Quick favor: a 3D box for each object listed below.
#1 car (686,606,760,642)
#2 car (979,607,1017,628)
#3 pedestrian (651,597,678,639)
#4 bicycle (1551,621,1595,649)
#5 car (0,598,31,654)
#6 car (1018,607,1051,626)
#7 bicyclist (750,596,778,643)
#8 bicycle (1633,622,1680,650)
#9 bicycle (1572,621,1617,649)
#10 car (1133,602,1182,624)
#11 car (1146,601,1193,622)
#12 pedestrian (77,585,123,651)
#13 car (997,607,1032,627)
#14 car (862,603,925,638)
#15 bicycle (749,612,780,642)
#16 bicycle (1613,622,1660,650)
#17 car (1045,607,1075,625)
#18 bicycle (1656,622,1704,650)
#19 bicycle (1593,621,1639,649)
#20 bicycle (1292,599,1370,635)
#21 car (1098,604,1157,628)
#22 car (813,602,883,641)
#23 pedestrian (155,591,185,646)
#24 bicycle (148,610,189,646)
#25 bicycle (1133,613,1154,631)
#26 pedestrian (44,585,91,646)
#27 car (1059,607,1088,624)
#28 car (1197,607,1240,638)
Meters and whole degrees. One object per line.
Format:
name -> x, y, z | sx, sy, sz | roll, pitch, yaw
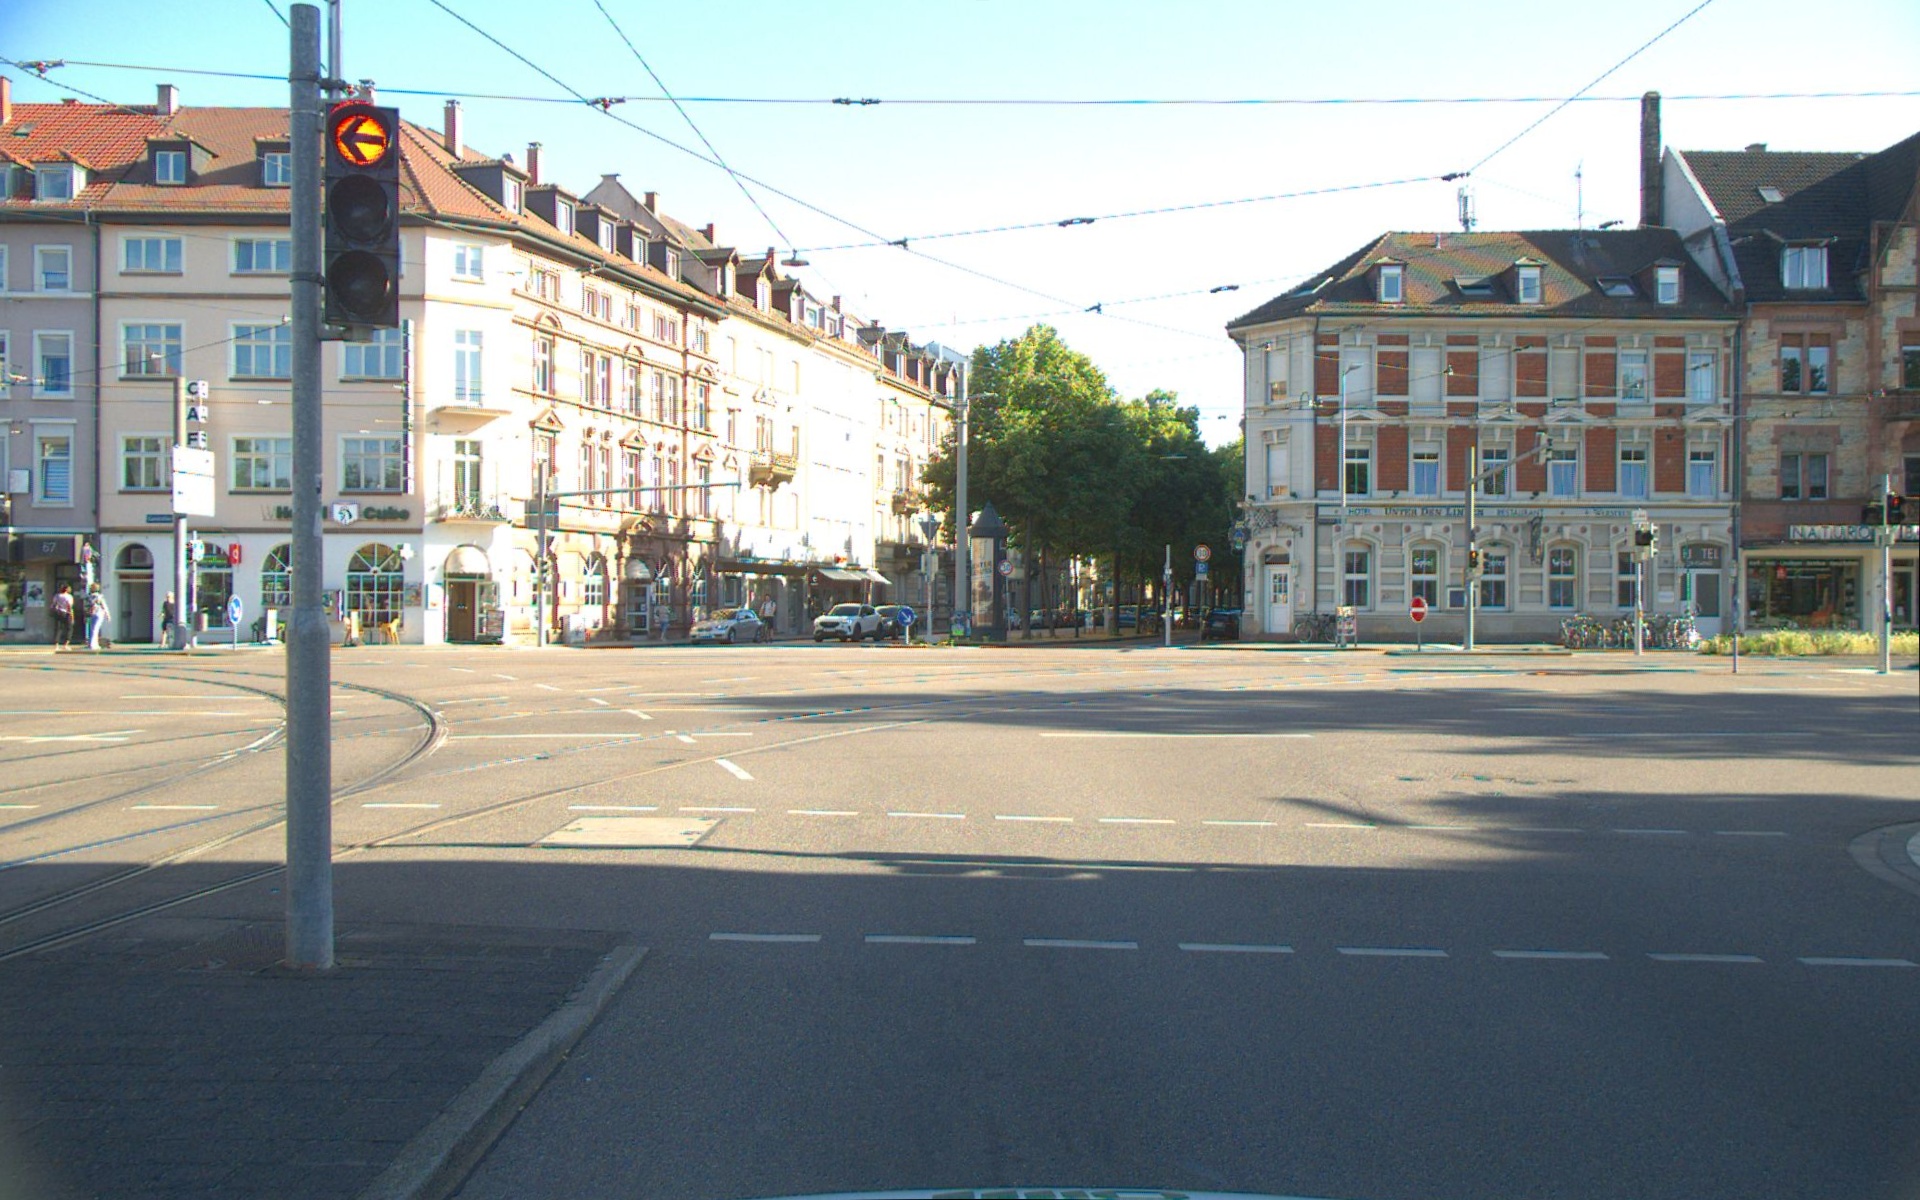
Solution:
car -> -9.535, 0.936, 66.730 | 1.642, 1.378, 3.593 | 0, 0, 16
car -> 2.575, 1.146, 111.323 | 1.642, 1.378, 3.593 | 0, 0, 16
pedestrian -> -12.256, 0.734, 68.603 | 0.759, 1.699, 0.831 | 1, -1, 15
bicycle -> 19.765, 1.105, 53.349 | 0.645, 0.855, 2.160 | 1, 0, 1
car -> -32.148, 0.793, 52.245 | 4.276, 1.741, 2.306 | 1, 0, 1
car -> 5.545, 1.220, 122.485 | 1.642, 1.378, 3.593 | 0, 0, 16
bicyclist -> -7.709, 0.768, 64.989 | 0.761, 1.834, 1.056 | 1, -1, 13
bicycle -> 22.495, 1.152, 53.463 | 0.645, 0.855, 2.160 | 1, 0, 1
bicycle -> 20.484, 1.118, 53.437 | 0.645, 0.855, 2.160 | 1, 0, 1
car -> 15.331, 0.967, 128.229 | 3.503, 1.677, 1.684 | 0, 0, 16
car -> 16.954, 0.893, 133.729 | 3.503, 1.677, 1.684 | 0, 0, 16
pedestrian -> -21.322, 0.442, 41.000 | 0.539, 1.605, 0.832 | 1, -1, 27
car -> 3.832, 1.165, 115.498 | 1.642, 1.378, 3.593 | 0, 0, 16
car -> -2.942, 0.890, 73.536 | 1.642, 1.509, 3.950 | 0, 0, 16
bicycle -> -7.675, 1.049, 65.112 | 0.687, 1.137, 1.636 | 1, 0, 13
bicycle -> 21.867, 1.142, 53.484 | 0.645, 0.855, 2.160 | 1, 0, 1
car -> 7.904, 1.223, 130.827 | 1.642, 1.378, 3.593 | 0, 0, 16
bicycle -> 23.283, 1.166, 53.509 | 0.645, 0.855, 2.160 | 1, 0, 1
bicycle -> 21.196, 1.130, 53.450 | 0.645, 0.855, 2.160 | 1, 0, 1
bicycle -> 12.871, 0.588, 57.440 | 2.504, 1.194, 0.818 | 1, -1, -4
car -> 11.725, 1.122, 115.817 | 3.819, 1.677, 1.684 | 0, 0, 16
car -> -4.530, 0.845, 67.211 | 1.642, 1.509, 3.774 | 0, 0, 16
pedestrian -> -24.799, 0.571, 51.925 | 0.570, 1.699, 0.752 | 1, -1, -1
bicycle -> -24.804, 0.867, 51.843 | 0.561, 1.096, 1.497 | 1, 0, -1
bicycle -> 11.061, 1.300, 99.610 | 0.625, 1.039, 1.840 | 1, 0, -14
pedestrian -> -23.944, 0.412, 44.359 | 0.711, 1.605, 0.832 | 1, -1, 27
car -> 9.330, 1.260, 135.878 | 1.642, 1.378, 3.593 | 0, 0, 16
car -> 12.965, 1.108, 82.732 | 1.642, 1.509, 3.950 | 0, 0, 16
